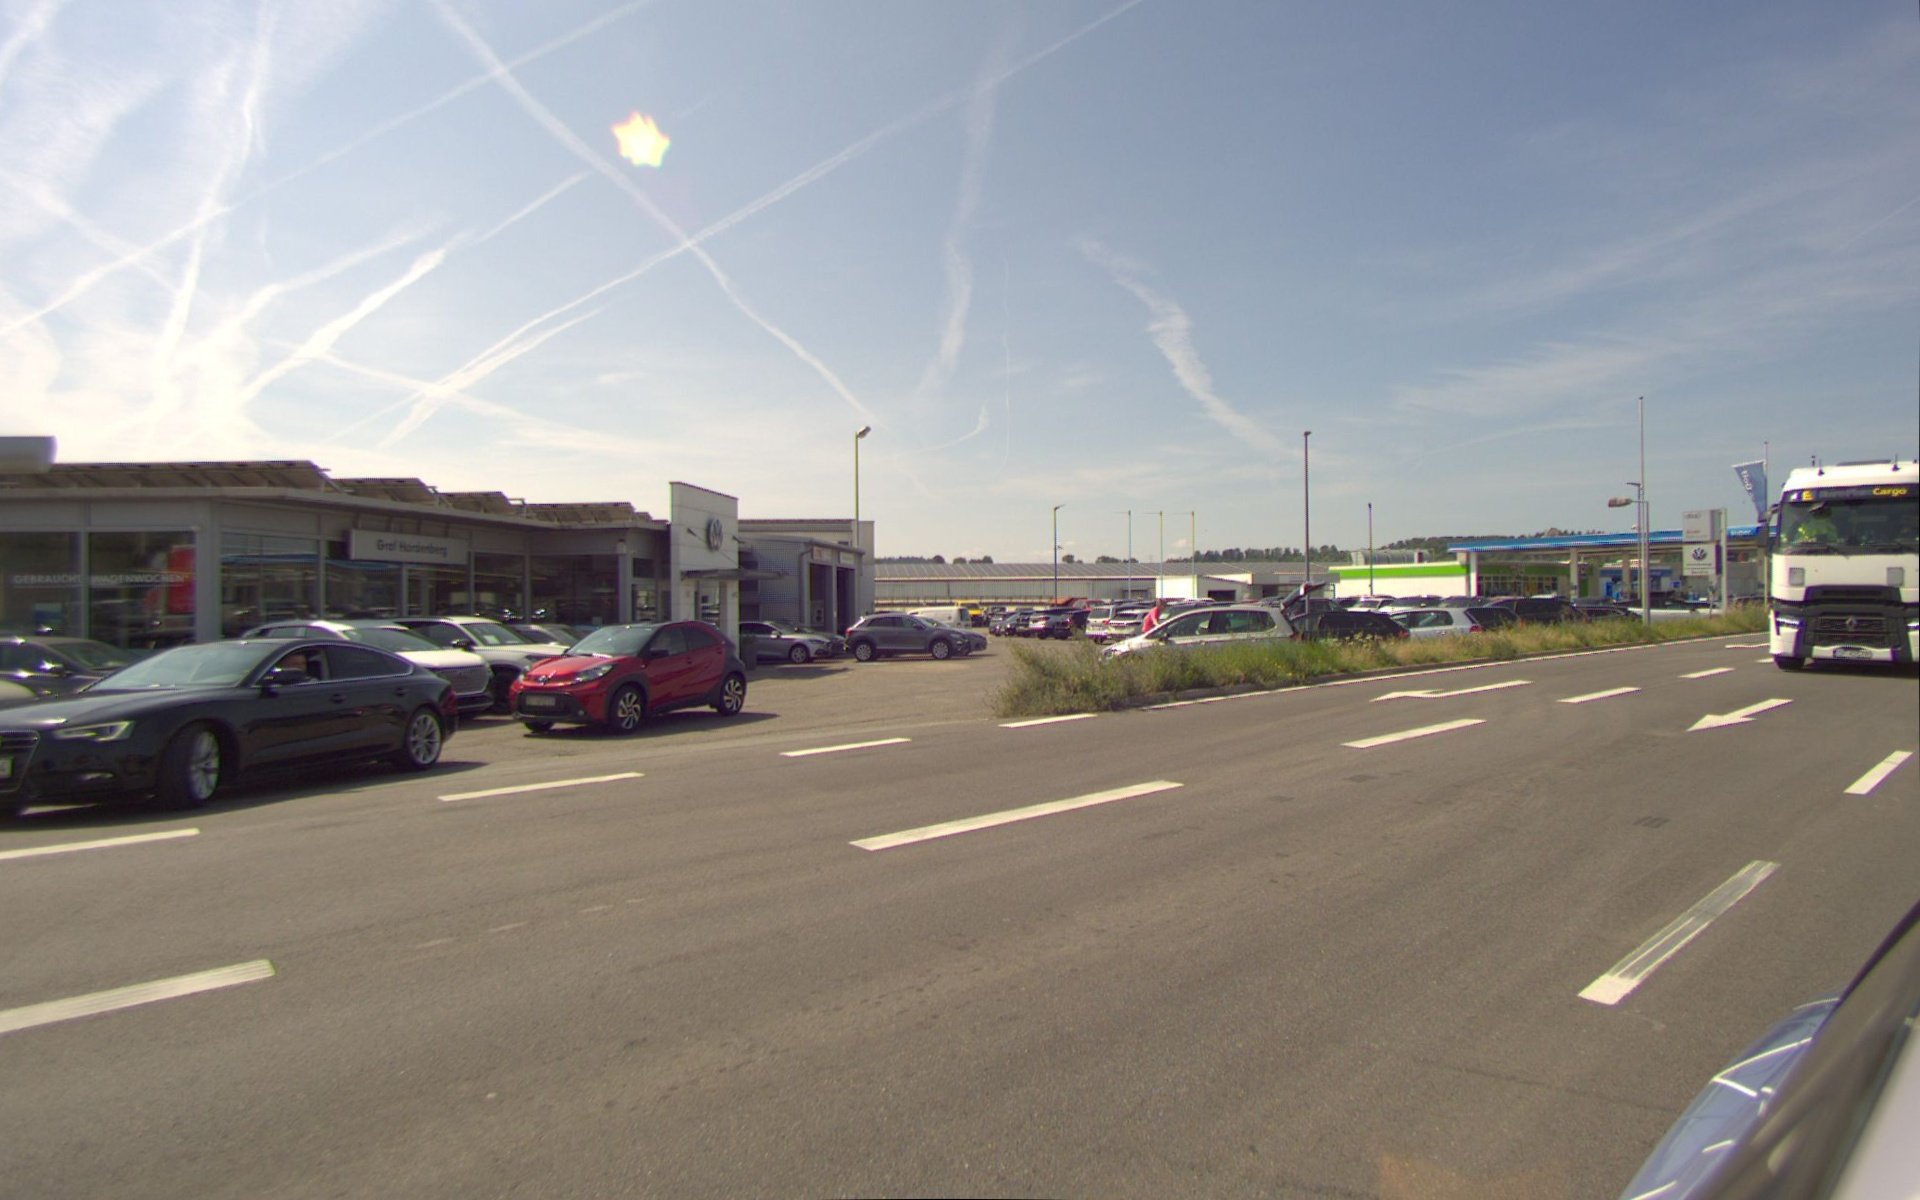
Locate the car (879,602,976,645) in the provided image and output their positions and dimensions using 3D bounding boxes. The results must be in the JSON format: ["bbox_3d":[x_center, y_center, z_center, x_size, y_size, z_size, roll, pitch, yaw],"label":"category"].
[{"bbox_3d":[-1.589,1.117,49.871,4.484,1.973,1.763,0,0,22],"label":"car"}]

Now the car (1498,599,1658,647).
[{"bbox_3d":[21.688,0.772,35.712,4.478,1.600,1.765,0,1,19],"label":"car"}]

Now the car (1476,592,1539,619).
[{"bbox_3d":[34.079,0.306,62.965,4.158,1.600,1.776,0,1,-35],"label":"car"}]

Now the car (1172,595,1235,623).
[{"bbox_3d":[16.041,0.575,66.968,2.025,1.750,4.548,0,1,-17],"label":"car"}]

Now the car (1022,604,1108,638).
[{"bbox_3d":[5.551,1.058,53.228,4.453,1.675,1.775,0,1,-36],"label":"car"}]

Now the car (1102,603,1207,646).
[{"bbox_3d":[8.193,0.974,42.416,4.453,1.675,1.776,0,1,-36],"label":"car"}]

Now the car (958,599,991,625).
[{"bbox_3d":[1.116,0.894,78.072,2.167,1.955,4.164,0,1,-4],"label":"car"}]

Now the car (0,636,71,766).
[{"bbox_3d":[-13.686,1.239,12.259,4.179,1.510,1.751,0,0,-5],"label":"car"}]

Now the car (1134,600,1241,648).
[{"bbox_3d":[8.820,0.884,39.023,4.464,1.675,1.964,-1,1,-45],"label":"car"}]

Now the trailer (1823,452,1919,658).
[{"bbox_3d":[23.958,-0.970,24.761,11.093,4.281,2.612,0,1,-41],"label":"trailer"}]

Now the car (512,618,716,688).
[{"bbox_3d":[-7.825,1.171,23.054,4.045,1.428,1.819,0,1,9],"label":"car"}]

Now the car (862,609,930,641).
[{"bbox_3d":[-3.839,1.444,60.669,3.899,1.751,1.953,1,1,43],"label":"car"}]

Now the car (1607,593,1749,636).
[{"bbox_3d":[29.569,0.548,41.833,4.487,1.675,1.762,0,1,24],"label":"car"}]

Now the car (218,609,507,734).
[{"bbox_3d":[-9.283,1.021,15.769,3.974,1.692,1.765,0,0,20],"label":"car"}]

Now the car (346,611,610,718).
[{"bbox_3d":[-8.535,1.072,18.042,3.939,1.692,1.914,0,0,13],"label":"car"}]

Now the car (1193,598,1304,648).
[{"bbox_3d":[10.655,0.801,37.191,4.633,1.675,1.904,-1,1,-45],"label":"car"}]

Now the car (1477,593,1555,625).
[{"bbox_3d":[28.720,0.434,52.201,4.452,1.600,1.776,0,1,-36],"label":"car"}]

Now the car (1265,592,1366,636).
[{"bbox_3d":[14.523,0.518,41.225,4.455,1.675,1.775,0,1,-38],"label":"car"}]

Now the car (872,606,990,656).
[{"bbox_3d":[-1.008,1.062,36.164,4.009,1.675,1.772,0,0,9],"label":"car"}]

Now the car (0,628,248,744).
[{"bbox_3d":[-12.693,1.181,14.501,3.719,1.495,1.752,0,0,-5],"label":"car"}]

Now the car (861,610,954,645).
[{"bbox_3d":[-2.448,1.239,47.235,4.028,1.510,1.764,0,1,21],"label":"car"}]

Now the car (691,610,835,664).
[{"bbox_3d":[-6.553,1.218,33.945,4.468,1.675,1.774,0,0,4],"label":"car"}]

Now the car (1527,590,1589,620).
[{"bbox_3d":[36.073,0.270,61.023,4.179,1.734,1.714,0,1,-36],"label":"car"}]

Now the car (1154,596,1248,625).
[{"bbox_3d":[12.340,0.521,51.929,4.390,1.449,1.827,0,1,-19],"label":"car"}]

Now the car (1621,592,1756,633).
[{"bbox_3d":[31.474,0.526,43.888,4.489,1.675,1.761,0,1,25],"label":"car"}]

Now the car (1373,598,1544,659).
[{"bbox_3d":[13.776,0.759,28.200,3.941,1.572,1.768,0,0,14],"label":"car"}]

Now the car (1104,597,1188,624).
[{"bbox_3d":[10.679,0.561,58.196,4.442,1.493,1.827,0,1,-19],"label":"car"}]

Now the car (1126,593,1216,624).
[{"bbox_3d":[11.309,0.448,54.253,4.442,1.603,1.827,0,1,-19],"label":"car"}]

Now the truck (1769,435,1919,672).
[{"bbox_3d":[18.162,-0.822,19.791,5.936,4.037,2.645,0,1,-41],"label":"truck"}]

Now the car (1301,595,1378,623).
[{"bbox_3d":[20.792,0.456,55.337,4.452,1.459,1.776,0,1,-36],"label":"car"}]

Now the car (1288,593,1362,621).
[{"bbox_3d":[22.816,0.433,63.251,4.444,1.675,1.779,0,1,-25],"label":"car"}]

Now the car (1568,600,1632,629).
[{"bbox_3d":[37.301,0.810,58.978,4.069,1.600,1.776,0,1,-35],"label":"car"}]

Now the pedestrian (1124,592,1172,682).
[{"bbox_3d":[4.134,0.786,22.205,0.974,1.936,0.740,0,0,15],"label":"pedestrian"}]

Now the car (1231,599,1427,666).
[{"bbox_3d":[8.785,0.744,24.437,4.285,1.470,1.766,0,1,18],"label":"car"}]

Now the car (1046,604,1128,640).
[{"bbox_3d":[6.414,1.053,50.842,4.464,1.675,1.771,-1,1,-45],"label":"car"}]

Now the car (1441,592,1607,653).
[{"bbox_3d":[16.398,0.629,29.647,3.945,1.675,1.766,0,0,17],"label":"car"}]

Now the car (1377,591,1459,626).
[{"bbox_3d":[23.136,0.410,51.082,4.452,1.675,1.776,0,1,-36],"label":"car"}]

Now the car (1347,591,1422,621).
[{"bbox_3d":[24.602,0.313,58.659,4.449,1.675,1.777,0,1,-32],"label":"car"}]

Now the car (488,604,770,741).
[{"bbox_3d":[-4.731,0.959,15.087,1.756,1.675,4.045,-2,0,23],"label":"car"}]

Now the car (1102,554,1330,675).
[{"bbox_3d":[5.154,0.245,20.386,4.295,2.240,1.752,0,0,20],"label":"car"}]

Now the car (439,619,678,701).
[{"bbox_3d":[-8.067,1.169,20.522,4.141,1.475,1.890,0,1,9],"label":"car"}]

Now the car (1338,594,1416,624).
[{"bbox_3d":[21.977,0.442,53.307,4.452,1.545,1.691,0,1,-36],"label":"car"}]

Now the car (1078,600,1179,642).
[{"bbox_3d":[7.559,0.907,45.204,4.452,1.751,1.823,0,1,-35],"label":"car"}]

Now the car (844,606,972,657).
[{"bbox_3d":[-1.691,1.029,33.524,4.007,1.629,1.690,0,-1,8],"label":"car"}]

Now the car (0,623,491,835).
[{"bbox_3d":[-6.452,0.997,9.113,1.931,1.350,4.808,-4,-3,4],"label":"car"}]

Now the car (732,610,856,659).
[{"bbox_3d":[-5.906,1.214,36.223,4.095,1.675,1.774,0,0,4],"label":"car"}]

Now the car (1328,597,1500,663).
[{"bbox_3d":[11.670,0.727,26.269,3.953,1.578,1.700,0,1,22],"label":"car"}]
